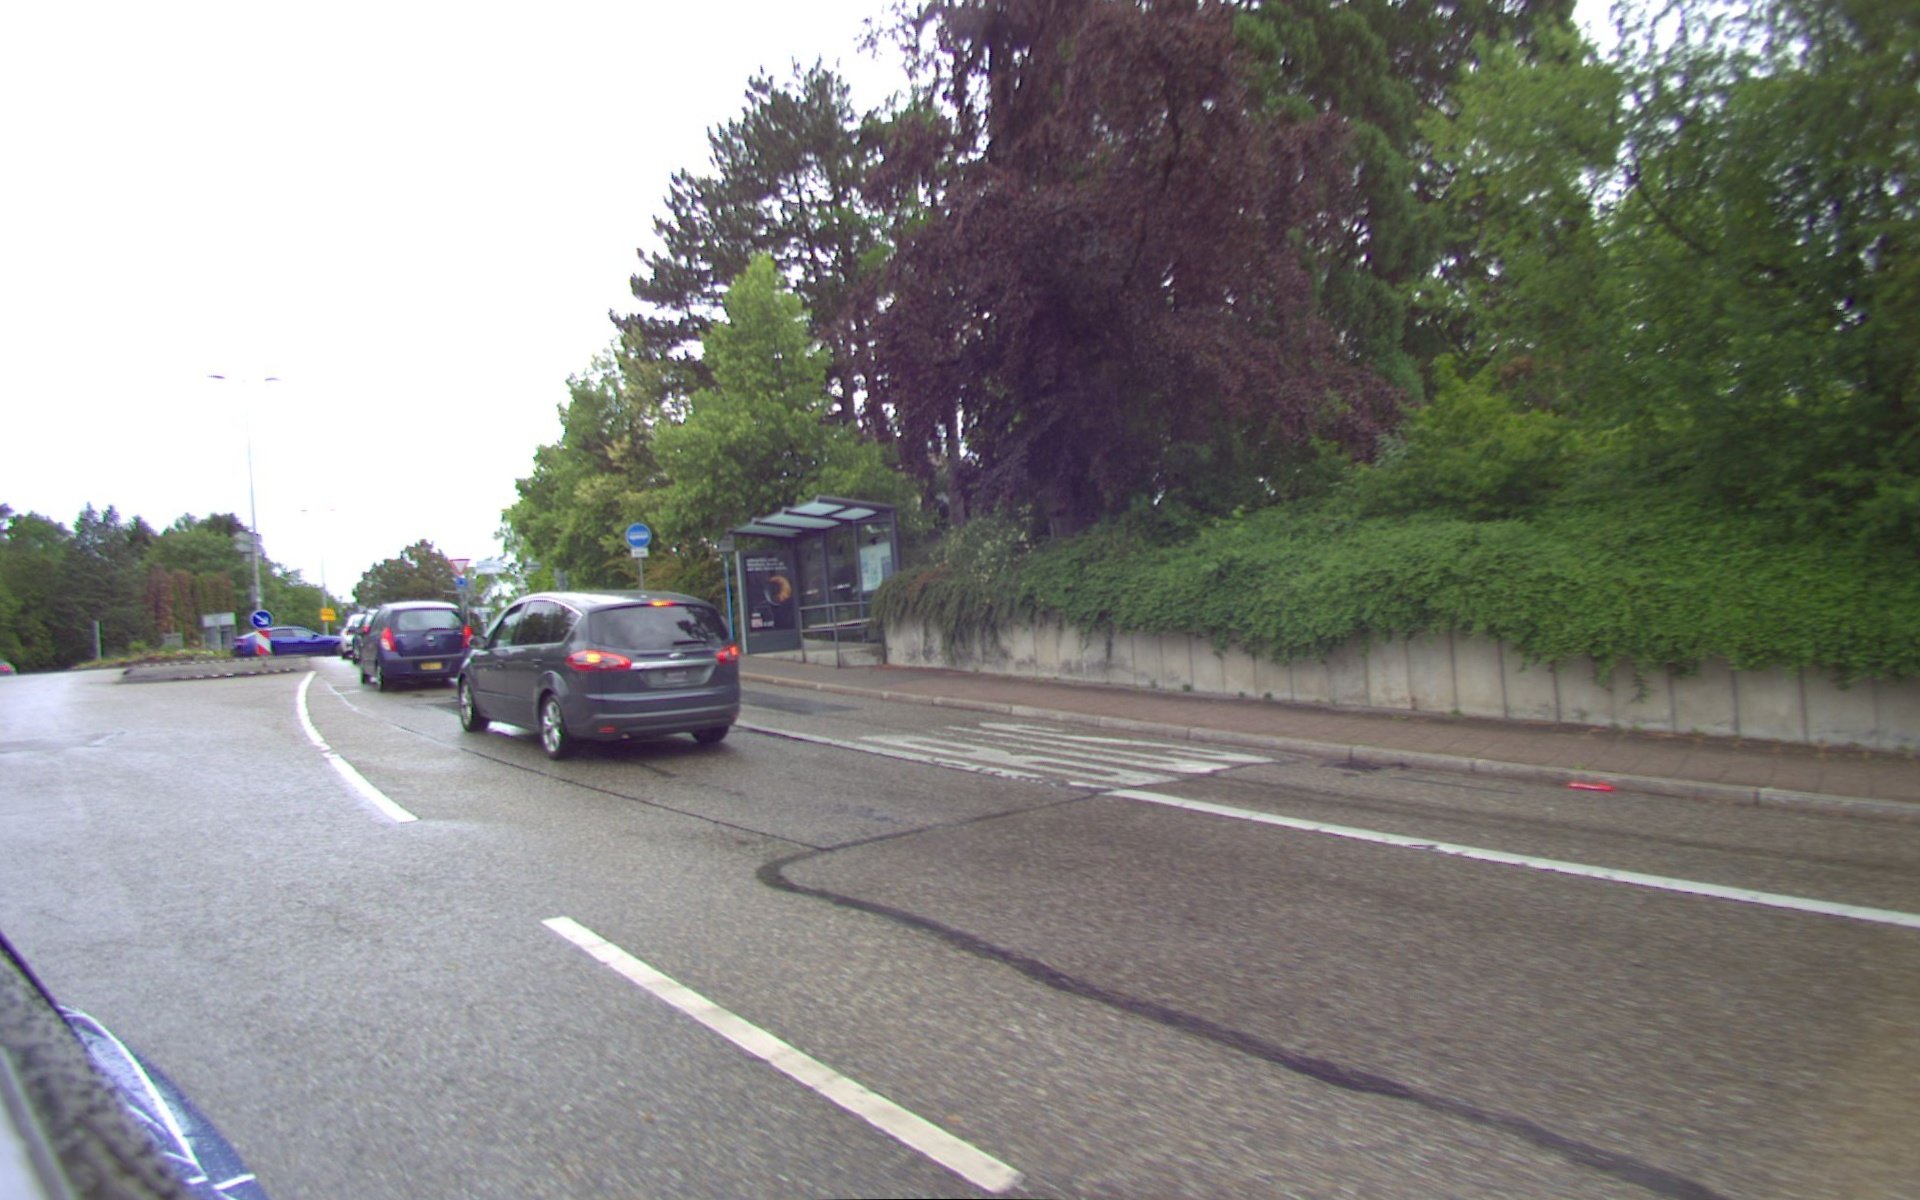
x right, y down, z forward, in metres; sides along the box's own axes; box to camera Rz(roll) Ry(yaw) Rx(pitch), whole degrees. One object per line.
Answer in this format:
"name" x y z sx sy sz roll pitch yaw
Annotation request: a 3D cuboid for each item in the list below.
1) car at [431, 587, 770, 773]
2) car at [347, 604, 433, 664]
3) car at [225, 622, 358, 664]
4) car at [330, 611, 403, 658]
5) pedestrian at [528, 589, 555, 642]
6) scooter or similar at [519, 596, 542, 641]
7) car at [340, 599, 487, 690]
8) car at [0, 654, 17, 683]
"car" -4.130 0.714 11.102 1.789 1.588 4.691 -1 0 -43
"car" -15.073 0.930 26.654 1.766 1.458 4.415 2 -3 -32
"car" -29.143 1.853 44.173 4.599 1.448 1.765 -3 -2 -42
"car" -20.014 1.128 34.032 1.803 1.412 4.833 -2 -1 -34
"pedestrian" -14.716 0.539 35.562 0.693 1.821 0.828 -2 -1 -32
"scooter or similar" -15.006 0.666 35.350 0.502 1.527 1.322 -2 -1 -32
"car" -10.371 0.821 19.049 1.699 1.475 4.385 -2 -1 -38
"car" -51.283 3.655 51.687 4.315 1.425 1.867 -3 -1 -37
